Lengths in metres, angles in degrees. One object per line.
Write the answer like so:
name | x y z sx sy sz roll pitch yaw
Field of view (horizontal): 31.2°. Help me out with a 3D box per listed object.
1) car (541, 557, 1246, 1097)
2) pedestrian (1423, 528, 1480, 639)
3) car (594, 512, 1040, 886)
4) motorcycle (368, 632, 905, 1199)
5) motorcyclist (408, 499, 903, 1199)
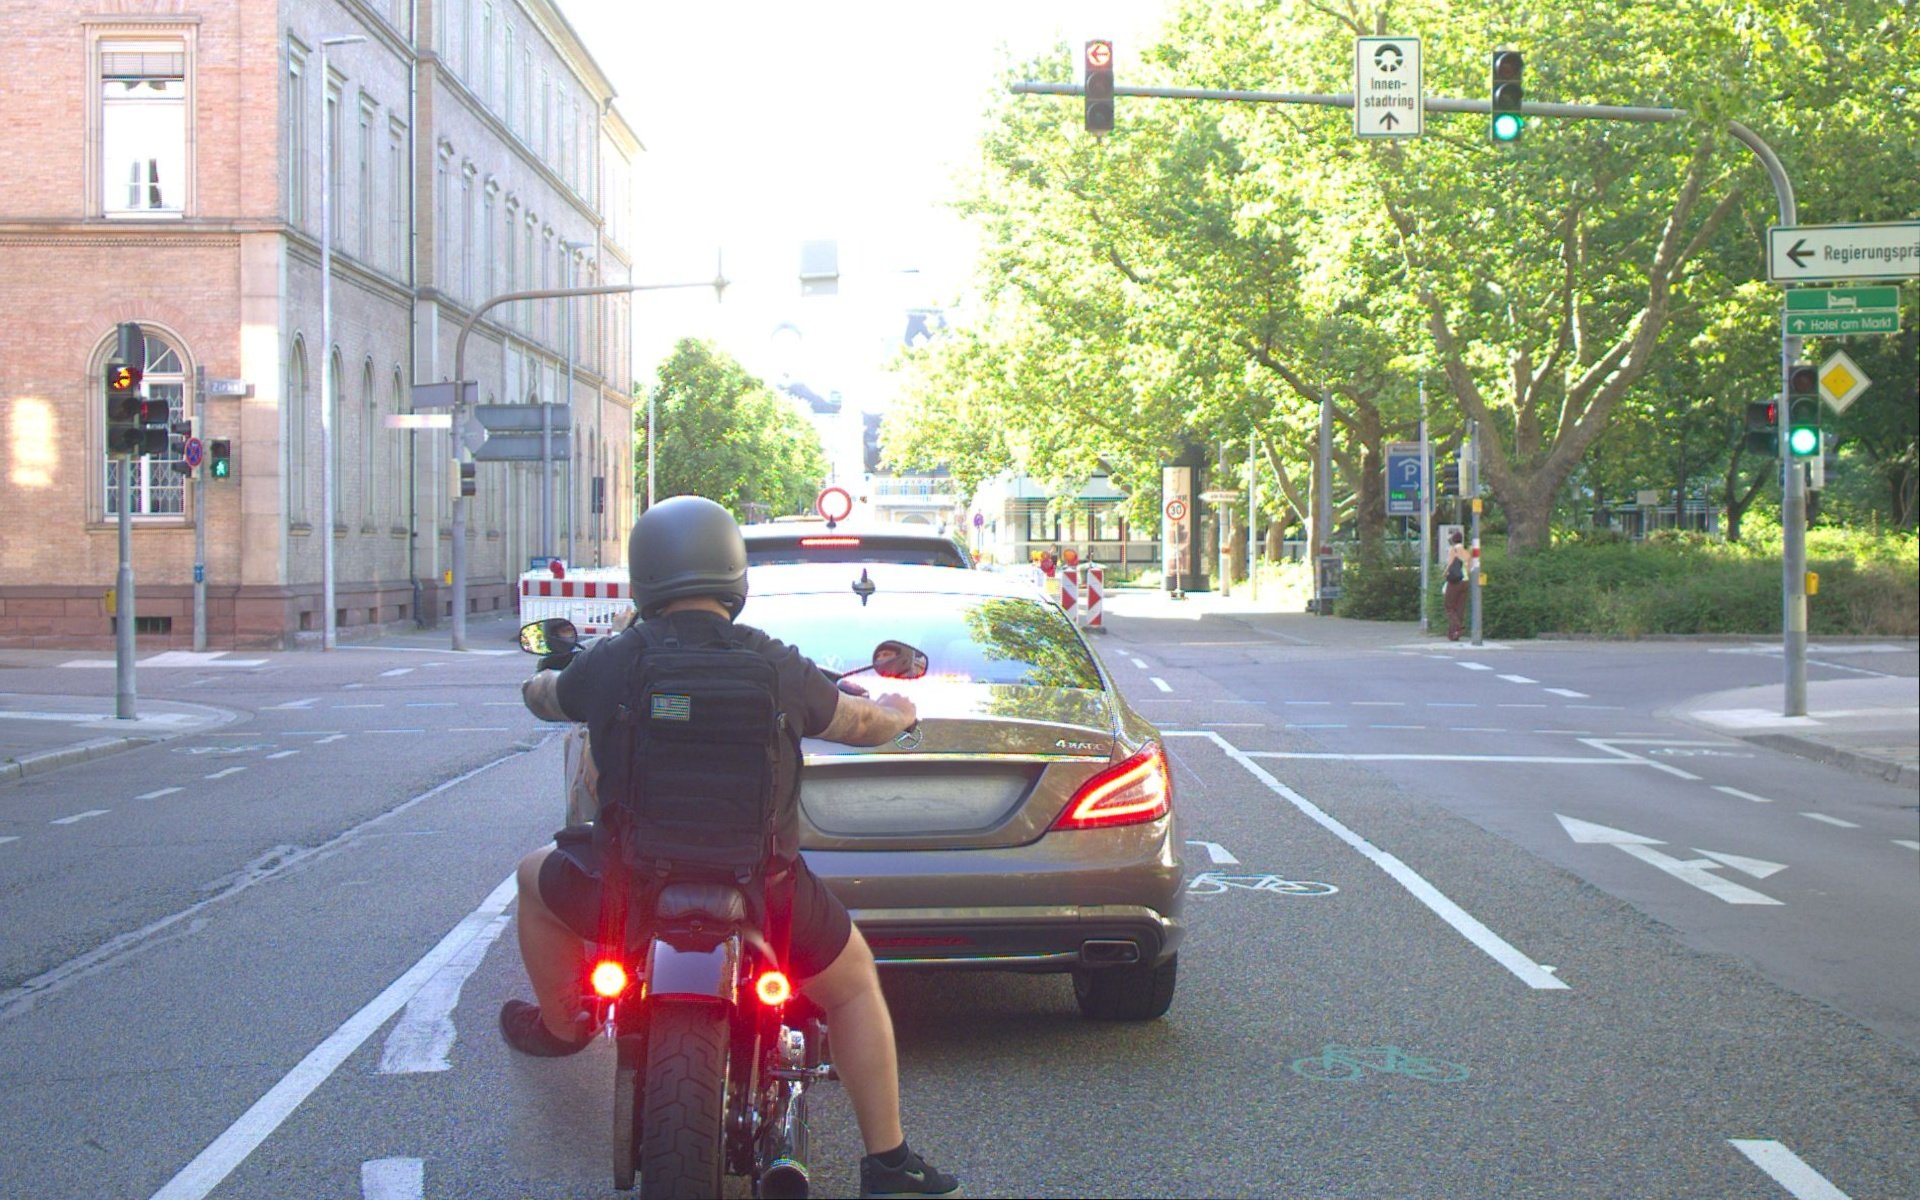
car | -0.436 0.586 11.626 1.869 1.439 4.431 0 1 -8
pedestrian | 7.930 -0.267 55.517 0.615 1.766 0.679 1 0 -25
car | -0.671 0.428 17.548 1.993 1.660 4.000 1 1 -1
motorcycle | -0.616 0.738 7.567 0.980 1.271 2.407 0 1 -1
motorcyclist | -0.617 0.573 7.494 0.980 1.573 1.248 0 1 -1
